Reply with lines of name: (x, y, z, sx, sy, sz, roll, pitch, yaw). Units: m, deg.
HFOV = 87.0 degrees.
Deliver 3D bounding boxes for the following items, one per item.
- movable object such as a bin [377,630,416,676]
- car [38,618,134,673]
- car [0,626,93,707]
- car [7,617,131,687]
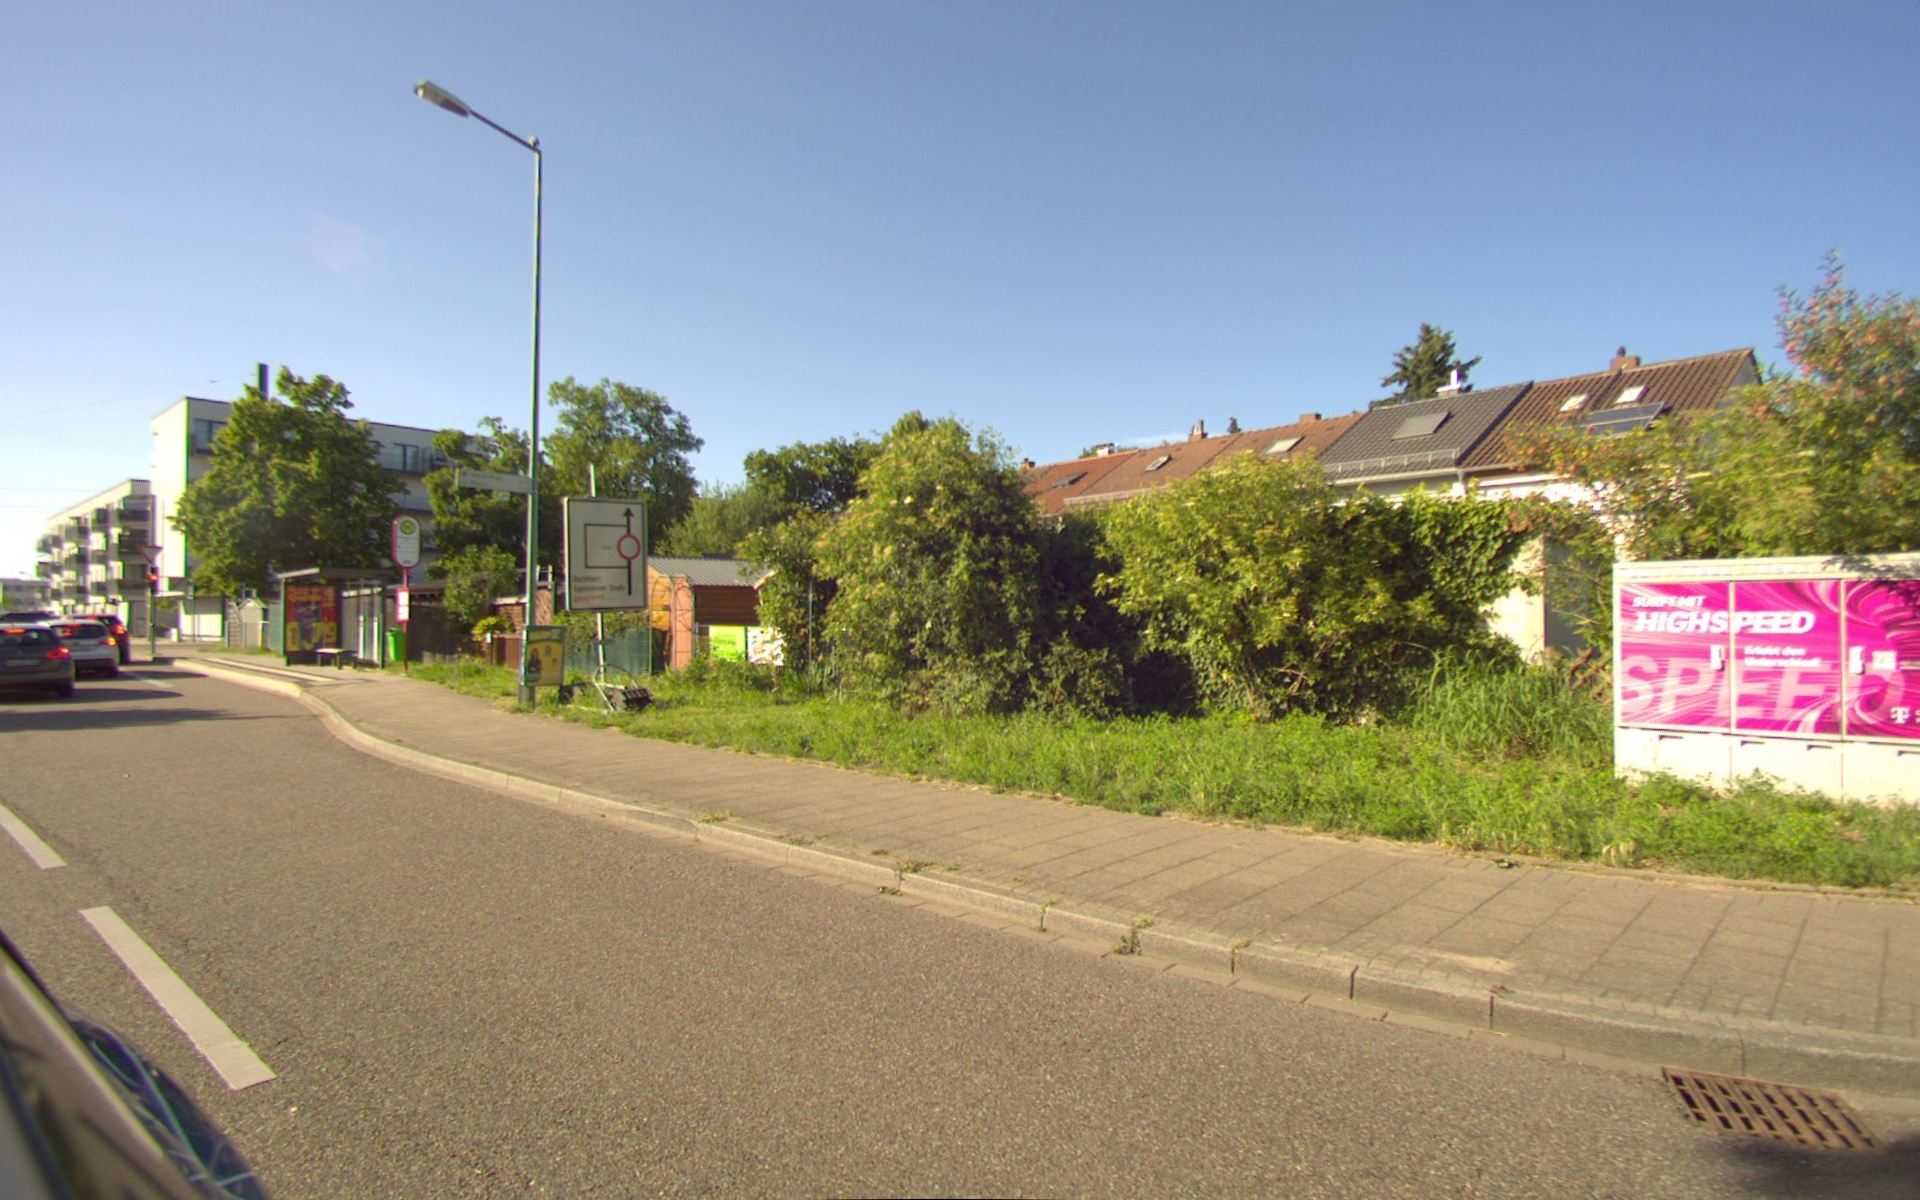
movable object such as a bin: (-12.764, 1.193, 22.943, 0.558, 0.975, 0.586, -2, 2, 44)
car: (-27.349, 1.359, 31.623, 4.182, 1.601, 1.918, -1, -1, 44)
car: (-19.085, 1.269, 20.247, 4.447, 1.454, 1.973, -1, 0, 40)
car: (-22.836, 1.255, 25.881, 2.183, 1.603, 4.538, 0, -1, -44)
